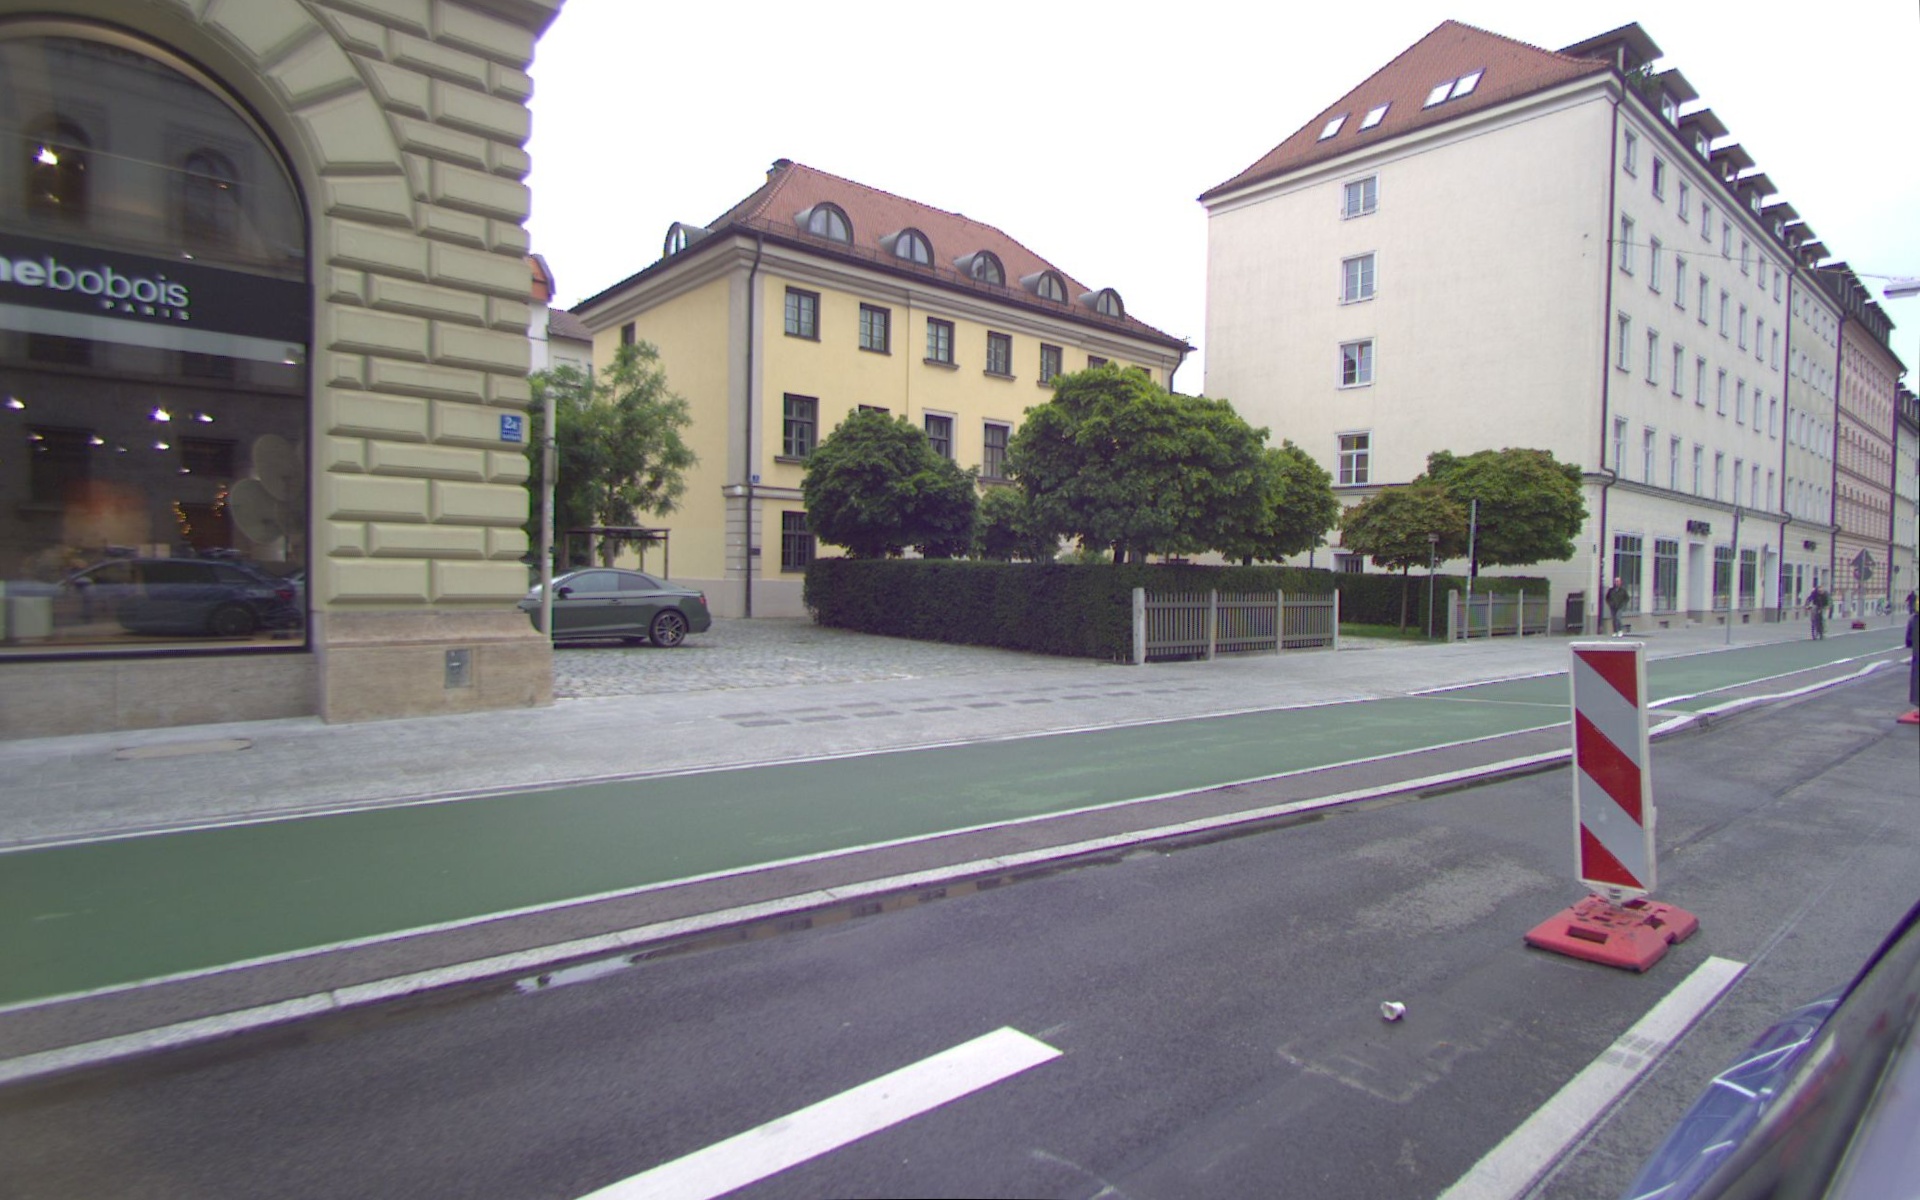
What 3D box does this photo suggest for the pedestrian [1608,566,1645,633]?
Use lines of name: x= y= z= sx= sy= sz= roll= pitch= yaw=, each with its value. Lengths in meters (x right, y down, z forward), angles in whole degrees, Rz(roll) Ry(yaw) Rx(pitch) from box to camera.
pedestrian: x=19.579 y=-0.026 z=29.732 sx=0.811 sy=1.897 sz=0.655 roll=0 pitch=3 yaw=-41

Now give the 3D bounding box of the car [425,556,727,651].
car: x=-6.555 y=0.018 z=17.584 sx=4.549 sy=1.444 sz=1.861 roll=0 pitch=2 yaw=-41

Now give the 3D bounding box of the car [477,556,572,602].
car: x=-14.630 y=-0.731 z=33.888 sx=1.830 sy=1.444 sz=4.323 roll=0 pitch=2 yaw=-39

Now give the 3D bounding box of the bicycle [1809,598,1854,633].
bicycle: x=27.427 y=0.482 z=31.837 sx=2.487 sy=1.045 sz=0.750 roll=0 pitch=0 yaw=-41

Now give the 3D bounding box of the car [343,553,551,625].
car: x=-11.258 y=-0.260 z=22.312 sx=3.809 sy=1.444 sz=1.694 roll=0 pitch=2 yaw=-41

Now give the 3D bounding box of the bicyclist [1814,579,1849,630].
bicyclist: x=27.426 y=0.122 z=31.835 sx=0.843 sy=1.572 sz=0.723 roll=0 pitch=0 yaw=-41
